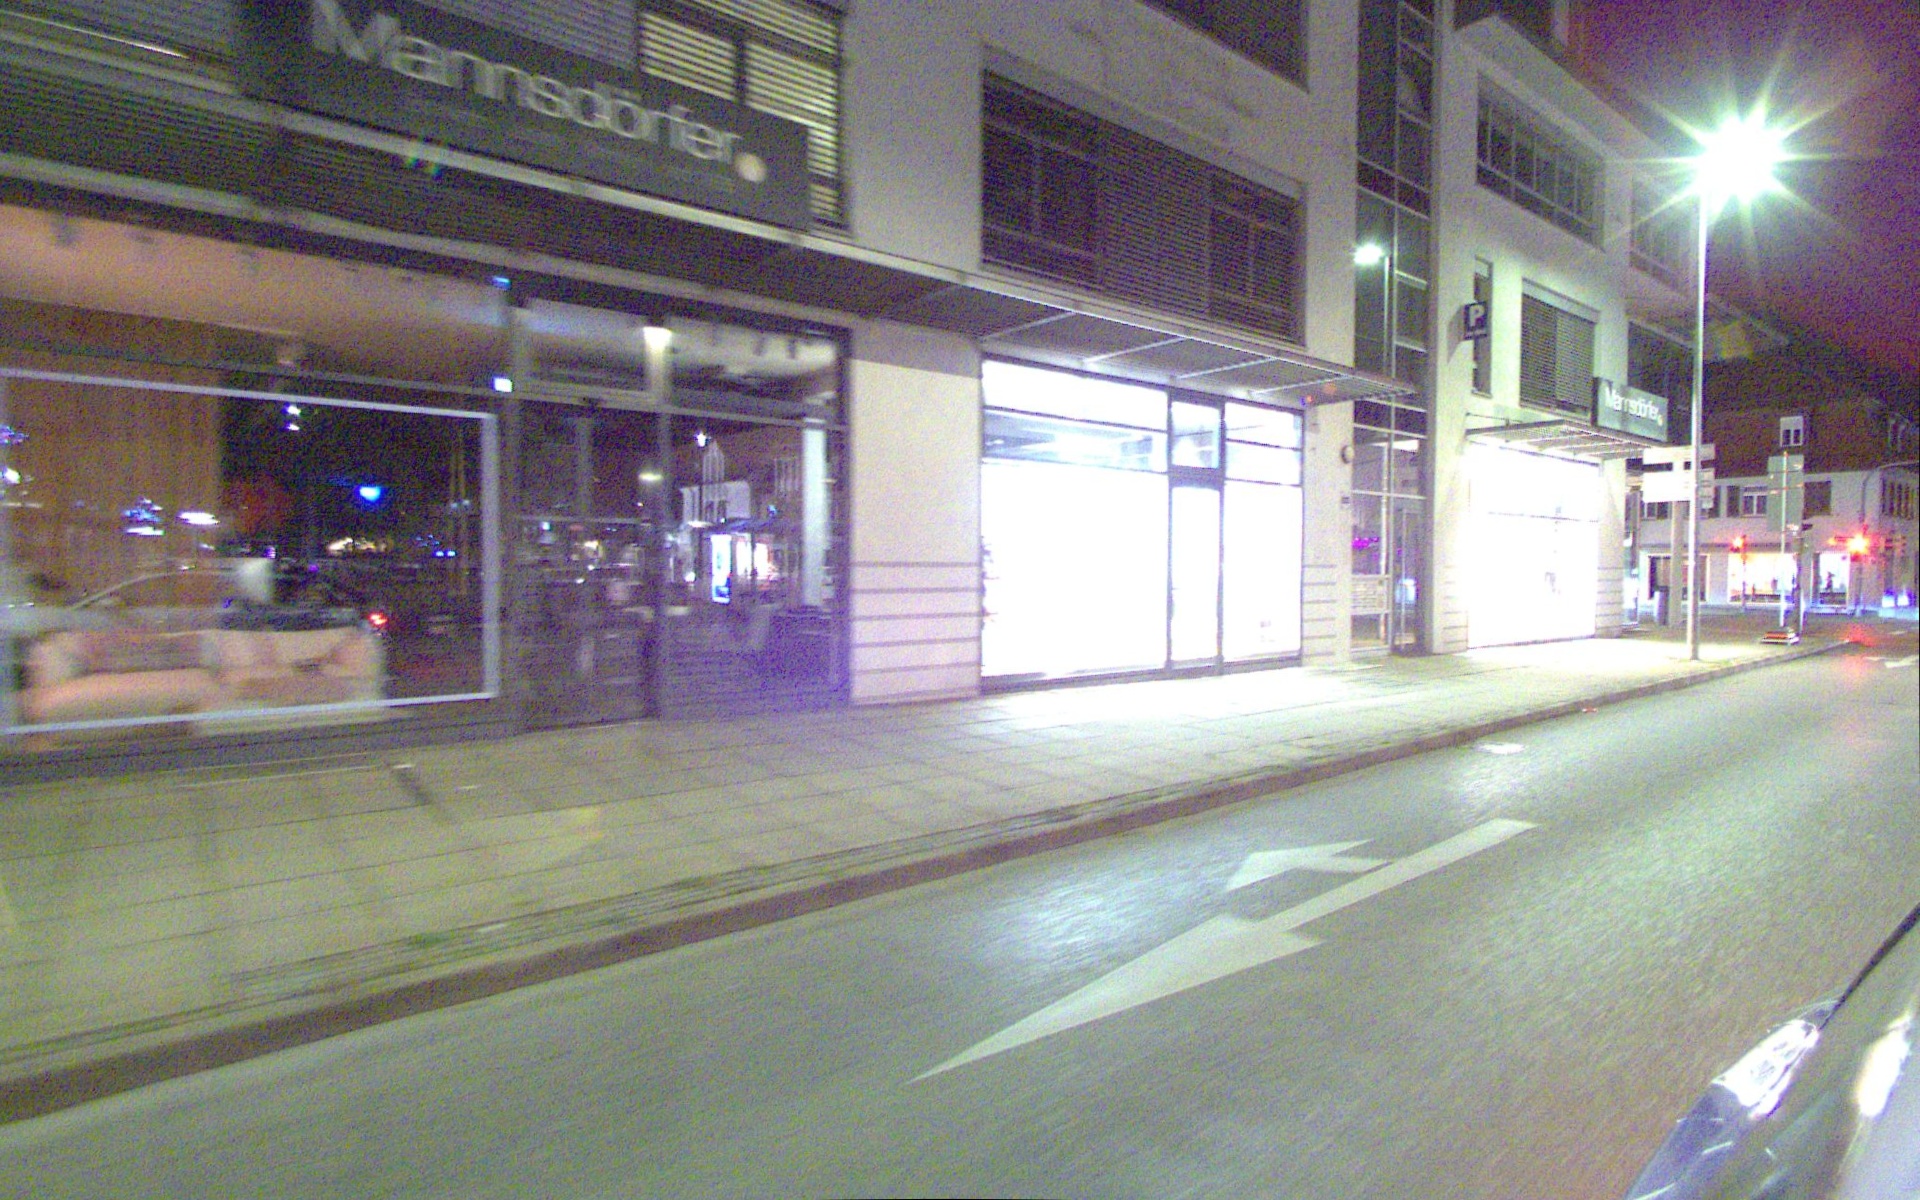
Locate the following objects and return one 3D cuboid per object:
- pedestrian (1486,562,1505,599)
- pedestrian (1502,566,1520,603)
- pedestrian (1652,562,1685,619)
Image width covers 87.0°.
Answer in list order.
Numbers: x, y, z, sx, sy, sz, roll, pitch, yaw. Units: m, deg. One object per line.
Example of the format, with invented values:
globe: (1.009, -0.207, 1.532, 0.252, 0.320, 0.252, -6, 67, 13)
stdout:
pedestrian: (25.339, -0.914, 47.874, 0.556, 1.738, 0.567, -1, 0, -34)
pedestrian: (25.841, -0.723, 47.455, 0.556, 1.738, 0.524, -1, 0, -36)
pedestrian: (21.390, -0.303, 30.551, 0.634, 1.703, 0.541, -1, 0, -19)
